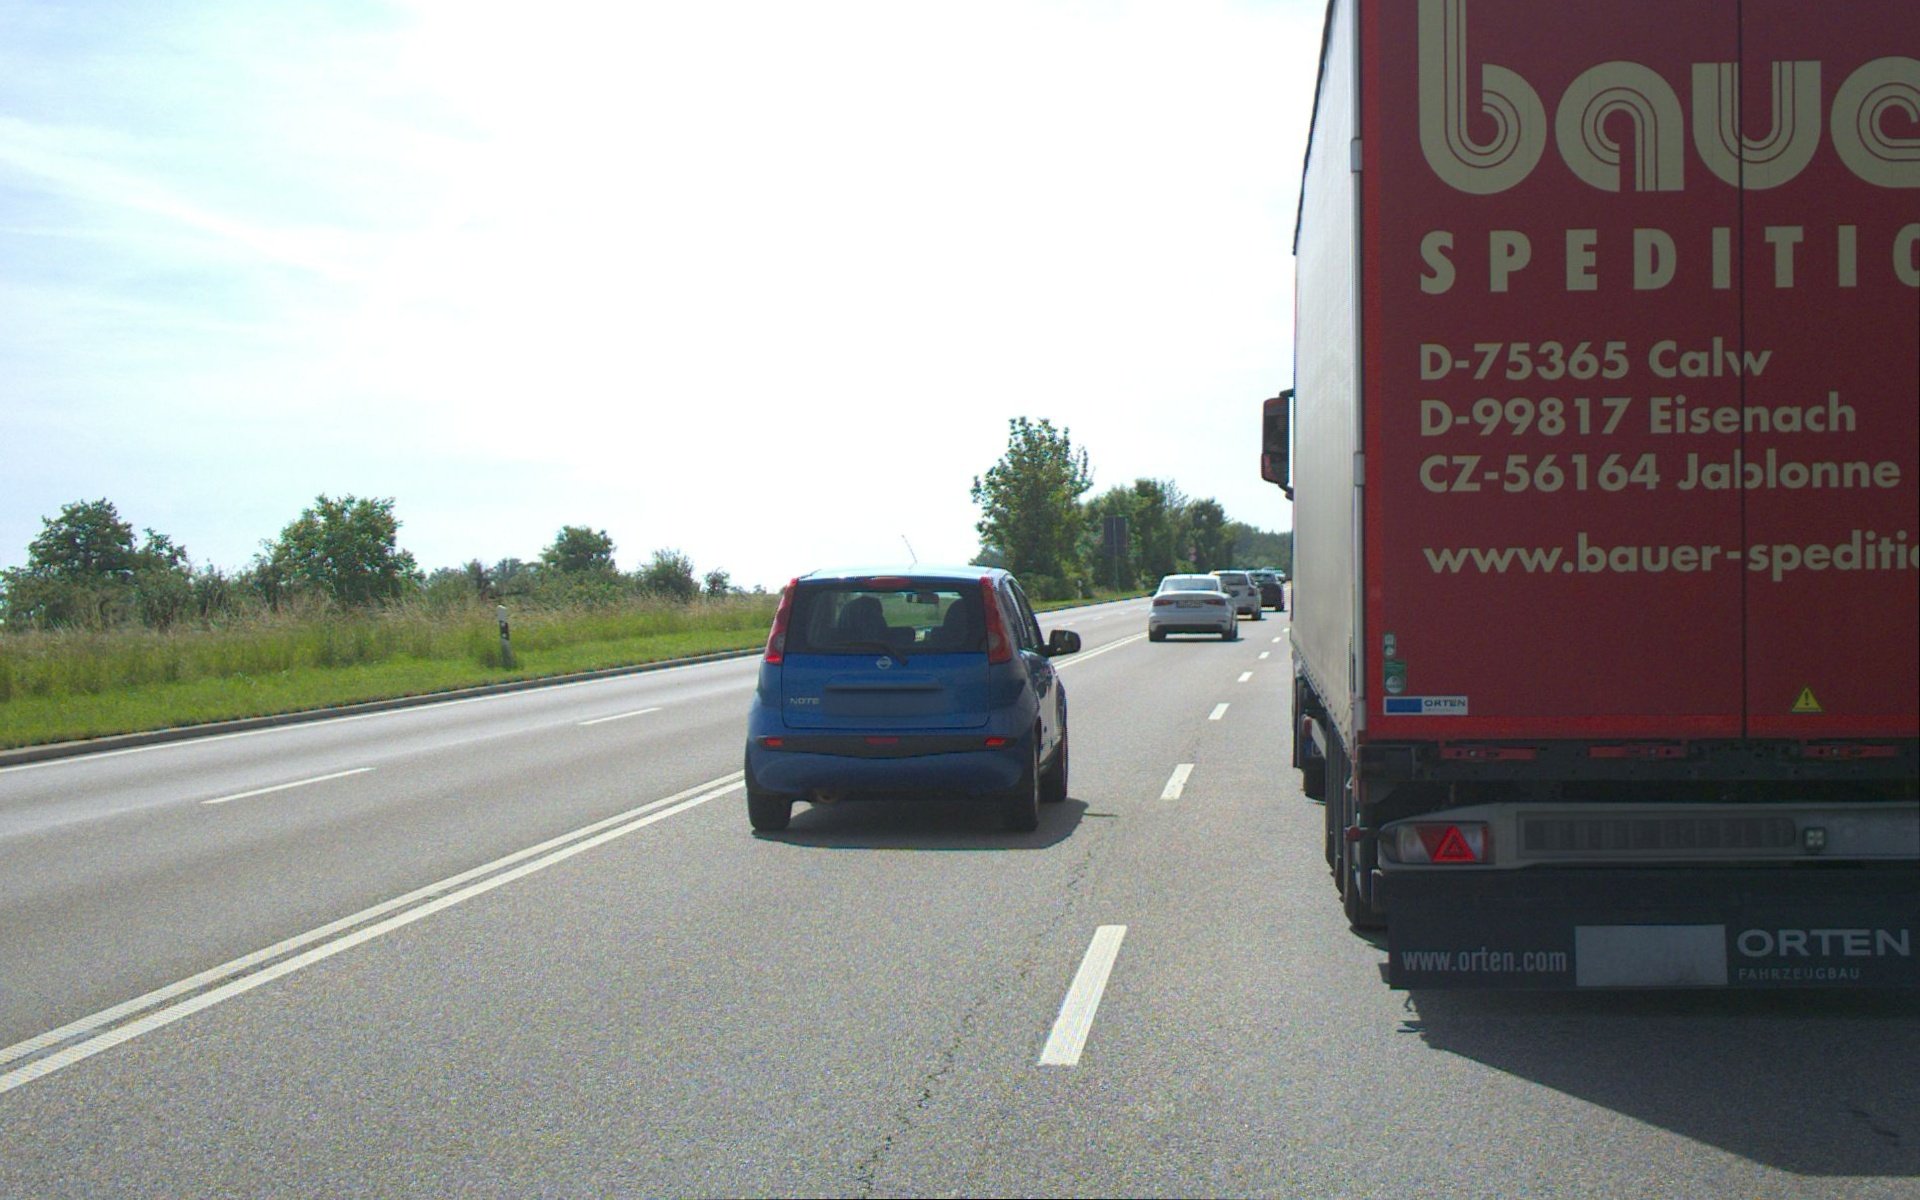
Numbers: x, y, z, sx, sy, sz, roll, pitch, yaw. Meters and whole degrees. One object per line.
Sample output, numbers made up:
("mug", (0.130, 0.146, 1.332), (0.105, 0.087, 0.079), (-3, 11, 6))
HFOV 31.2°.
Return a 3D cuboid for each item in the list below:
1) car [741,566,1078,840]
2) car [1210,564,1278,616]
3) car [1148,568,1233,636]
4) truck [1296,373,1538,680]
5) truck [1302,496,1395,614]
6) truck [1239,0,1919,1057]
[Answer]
("car", (-0.217, 0.556, 21.113), (1.632, 1.526, 3.914), (0, 0, 6))
("car", (8.449, -0.312, 102.014), (1.821, 1.467, 4.787), (1, 1, 6))
("car", (4.939, 0.021, 73.227), (1.703, 1.371, 4.602), (1, 1, 5))
("truck", (6.616, -1.005, 51.505), (3.047, 3.897, 15.612), (0, 1, 6))
("truck", (13.863, -1.568, 122.775), (3.047, 3.897, 18.393), (0, 1, 6))
("truck", (3.145, -0.757, 19.256), (3.007, 4.165, 16.712), (1, 1, 4))
